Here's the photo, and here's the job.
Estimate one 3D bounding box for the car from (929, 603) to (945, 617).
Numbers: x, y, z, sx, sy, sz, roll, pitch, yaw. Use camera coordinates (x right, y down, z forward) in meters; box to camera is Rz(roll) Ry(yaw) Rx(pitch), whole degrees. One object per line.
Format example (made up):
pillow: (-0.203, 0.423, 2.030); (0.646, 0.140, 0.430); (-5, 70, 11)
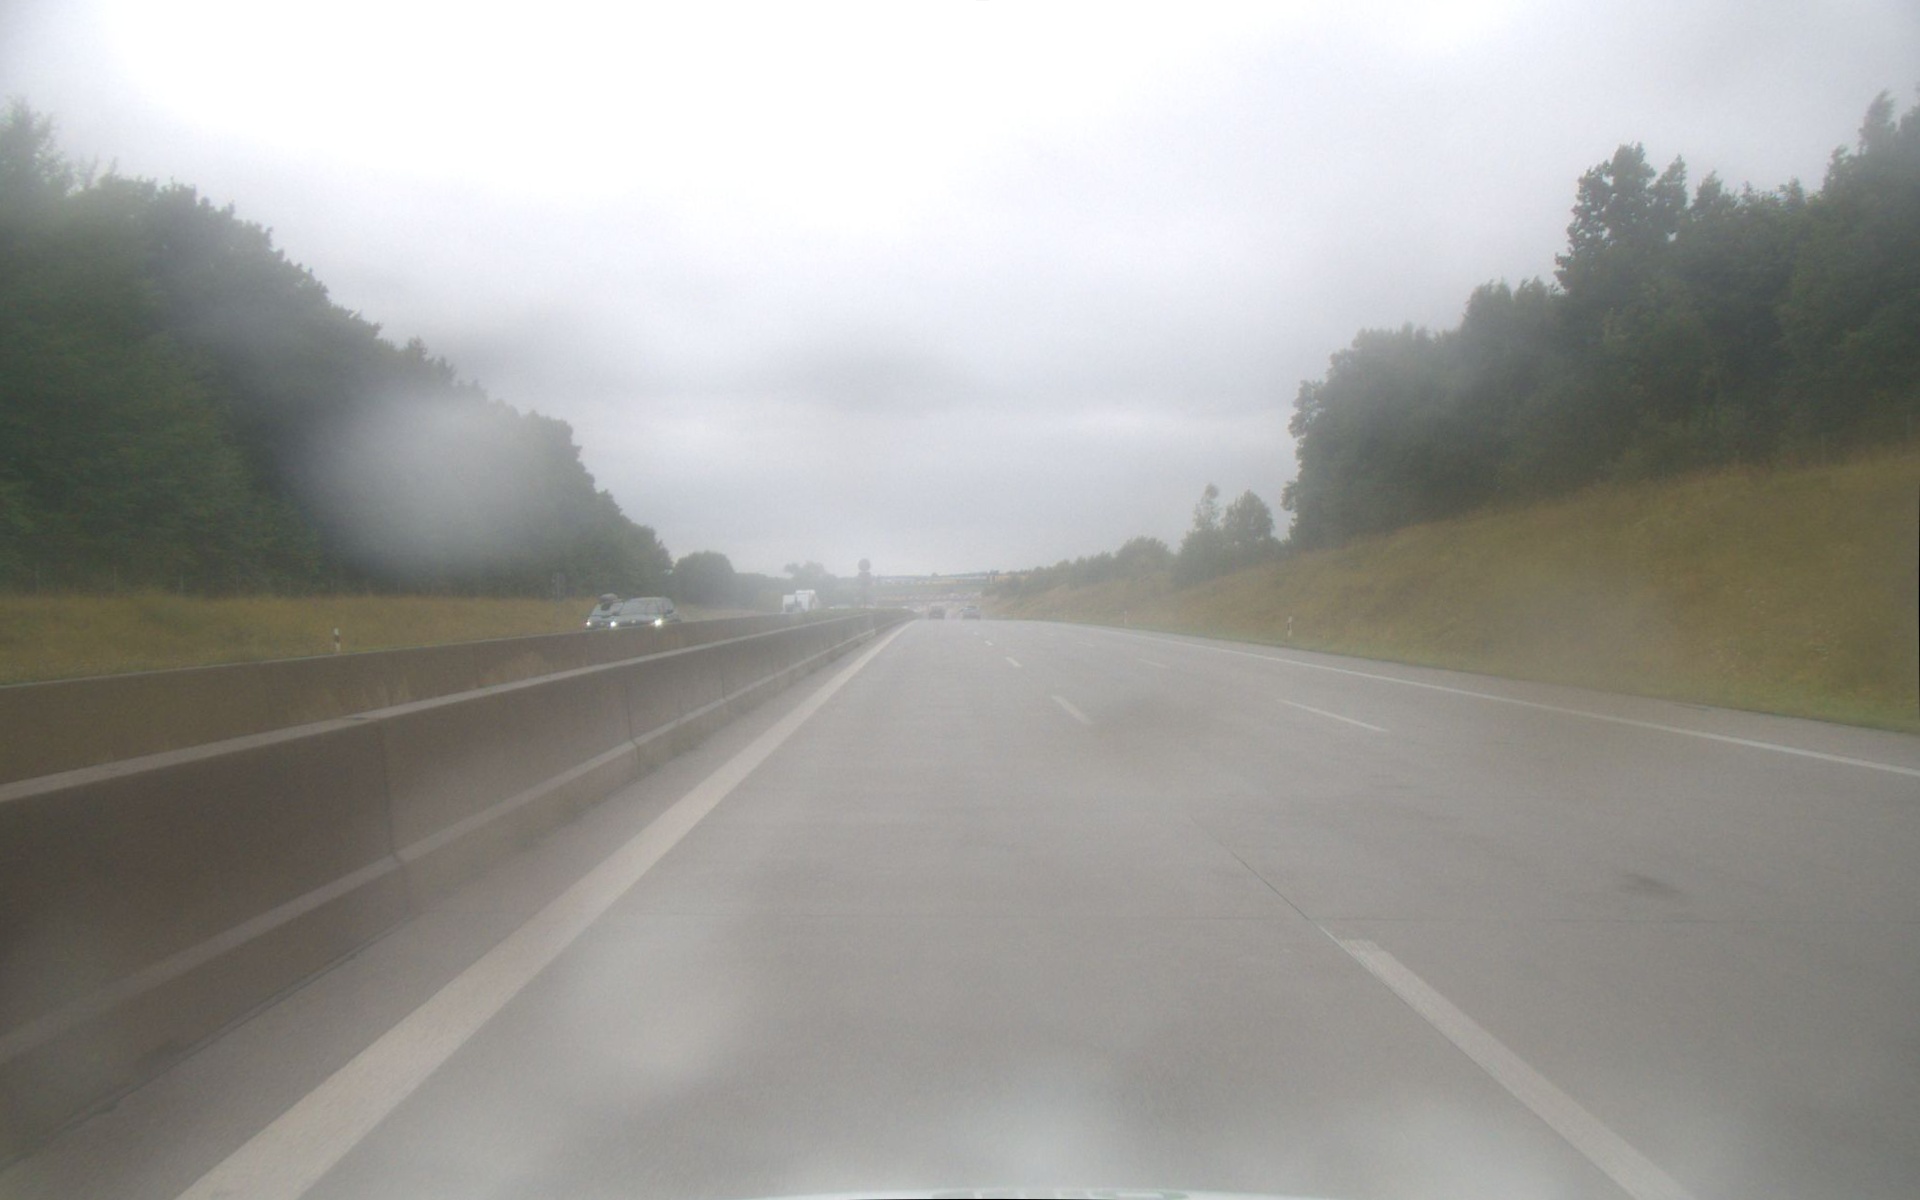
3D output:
car: (-2.410, 1.005, 173.171); (1.694, 1.354, 4.429); (0, 1, -1)

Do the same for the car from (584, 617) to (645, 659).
car: (-16.444, 1.782, 78.883); (2.018, 1.833, 4.850); (-1, 0, -2)

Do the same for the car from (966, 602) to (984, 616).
car: (1.551, 0.944, 176.311); (1.810, 1.354, 4.429); (0, 1, -1)

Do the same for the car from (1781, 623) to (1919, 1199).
car: (3.268, 0.783, 2.476); (1.694, 1.484, 4.671); (-1, -1, -1)

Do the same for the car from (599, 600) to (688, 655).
car: (-10.183, 0.843, 53.511); (1.928, 1.638, 4.852); (-1, 0, 0)
